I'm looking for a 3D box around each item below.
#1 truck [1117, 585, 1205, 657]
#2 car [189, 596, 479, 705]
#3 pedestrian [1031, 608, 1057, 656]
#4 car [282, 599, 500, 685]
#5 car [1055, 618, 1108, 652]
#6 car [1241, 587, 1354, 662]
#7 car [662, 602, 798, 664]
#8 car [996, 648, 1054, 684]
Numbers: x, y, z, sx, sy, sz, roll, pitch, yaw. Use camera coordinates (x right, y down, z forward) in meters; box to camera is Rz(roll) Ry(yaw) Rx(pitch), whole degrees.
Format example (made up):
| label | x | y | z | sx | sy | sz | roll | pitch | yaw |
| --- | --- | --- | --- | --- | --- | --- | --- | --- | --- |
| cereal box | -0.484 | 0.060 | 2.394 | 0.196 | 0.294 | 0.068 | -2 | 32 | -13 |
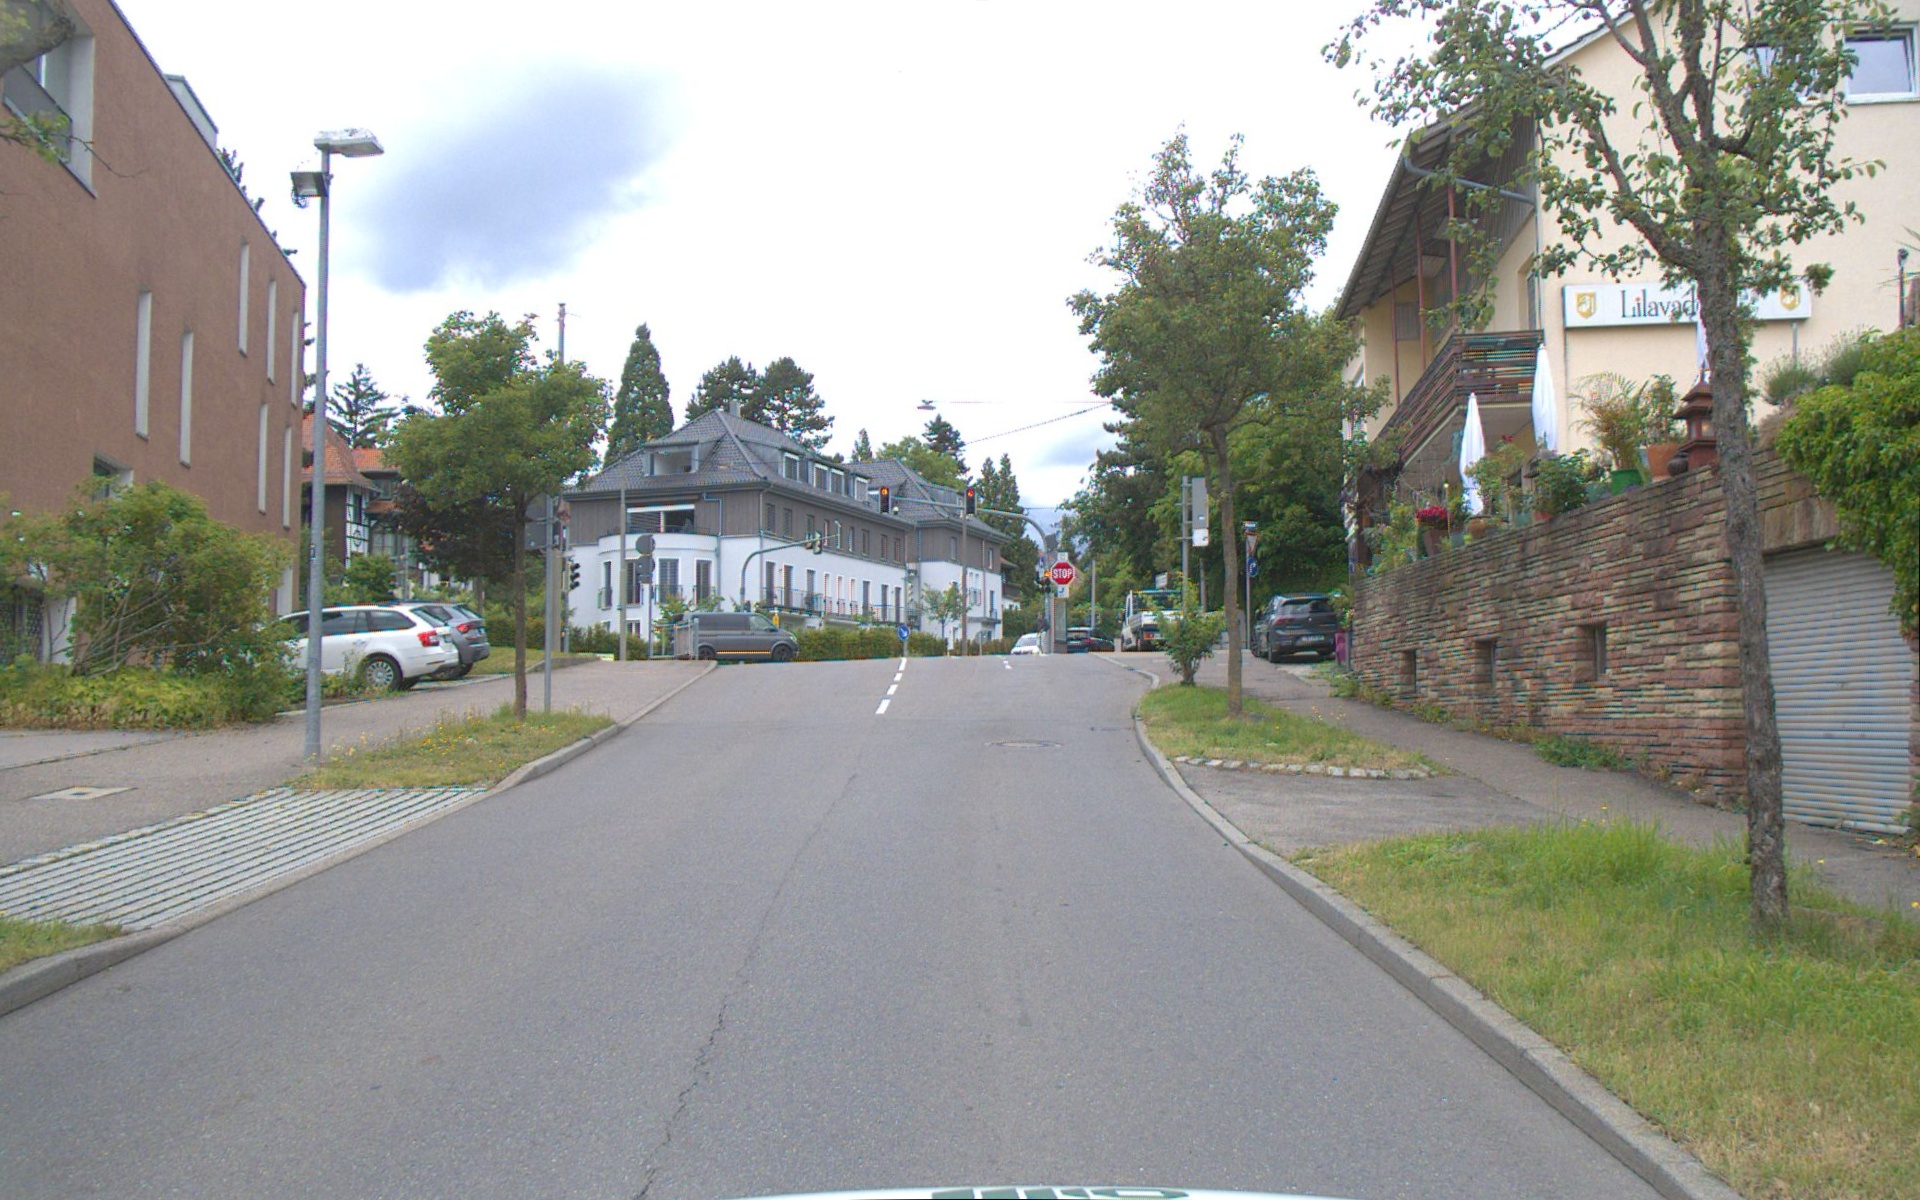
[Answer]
| label | x | y | z | sx | sy | sz | roll | pitch | yaw |
| --- | --- | --- | --- | --- | --- | --- | --- | --- | --- |
| truck | 6.867 | 0.783 | 57.222 | 2.139 | 2.234 | 5.878 | 0 | -3 | -2 |
| car | -10.579 | 0.849 | 28.203 | 4.176 | 1.652 | 2.012 | -2 | -1 | -4 |
| pedestrian | 3.029 | 1.161 | 59.649 | 0.689 | 1.711 | 0.680 | 0 | -1 | -27 |
| car | -11.042 | 0.795 | 32.306 | 3.688 | 1.489 | 1.729 | -2 | 1 | -7 |
| car | 5.875 | 1.672 | 79.607 | 2.108 | 1.517 | 4.716 | -1 | 0 | 10 |
| car | 7.603 | 0.546 | 37.647 | 1.810 | 1.498 | 4.387 | -3 | -1 | 3 |
| car | -8.356 | 1.184 | 60.132 | 4.445 | 2.049 | 1.981 | -1 | -3 | -29 |
| car | 3.710 | 3.692 | 93.266 | 1.952 | 1.889 | 4.353 | 0 | 0 | 21 |
